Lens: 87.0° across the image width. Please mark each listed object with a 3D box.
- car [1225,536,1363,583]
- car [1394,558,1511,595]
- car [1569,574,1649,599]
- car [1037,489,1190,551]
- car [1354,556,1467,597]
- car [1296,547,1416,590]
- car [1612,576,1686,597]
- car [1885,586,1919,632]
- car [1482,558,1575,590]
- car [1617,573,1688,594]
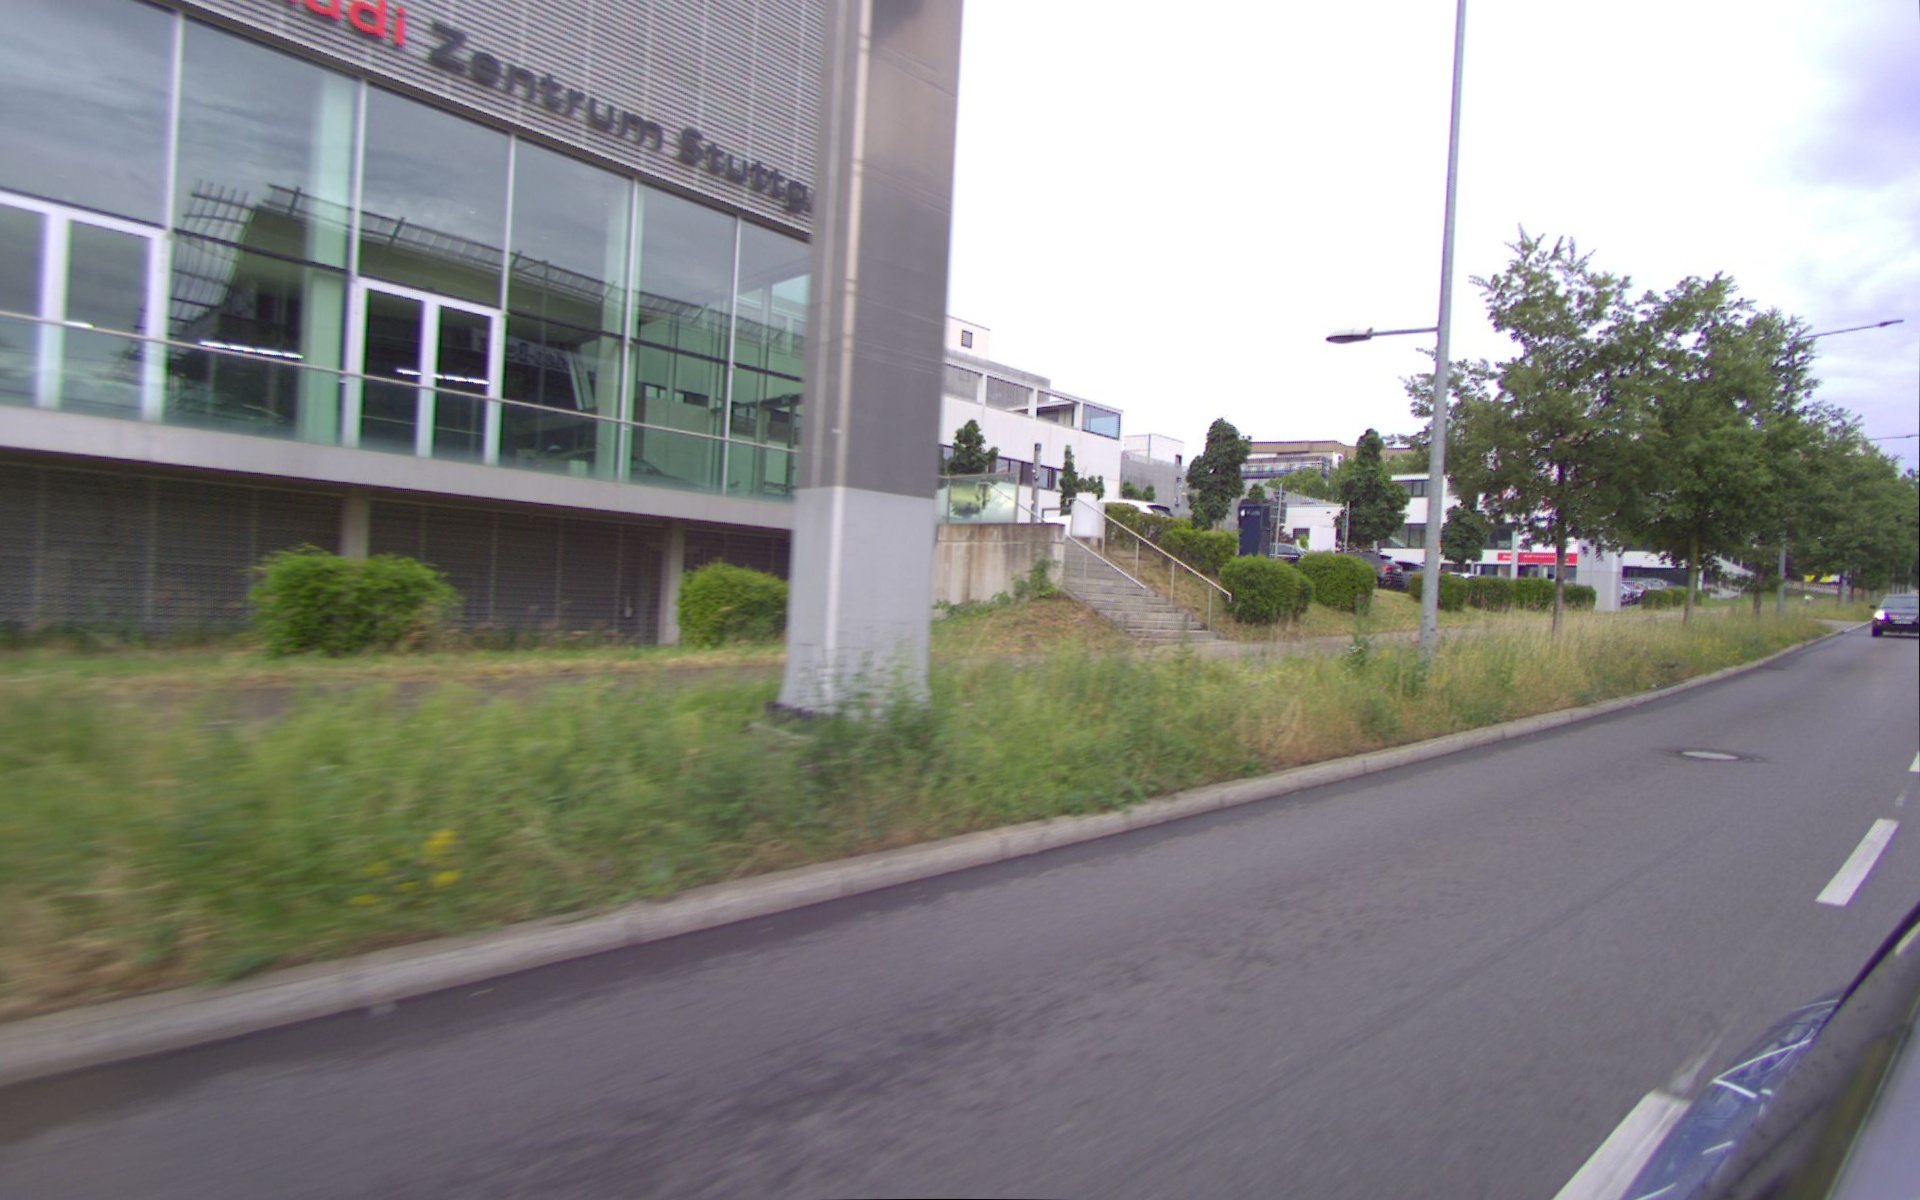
[{"bbox_3d":[11.923,-1.420,36.291,1.665,1.594,4.422,0,1,-45],"label":"car"},{"bbox_3d":[22.584,-1.111,46.525,1.665,1.613,4.522,-2,3,-45],"label":"car"},{"bbox_3d":[46.503,-0.997,72.578,1.900,1.547,4.465,-2,4,-45],"label":"car"},{"bbox_3d":[4.420,-2.276,29.577,4.261,1.594,1.665,2,1,45],"label":"car"},{"bbox_3d":[19.251,-1.005,43.399,1.665,1.629,4.107,1,1,-45],"label":"car"},{"bbox_3d":[15.632,-1.239,40.041,4.107,1.594,1.665,2,1,45],"label":"car"},{"bbox_3d":[53.191,-1.058,78.167,1.900,1.364,4.401,-2,5,-45],"label":"car"},{"bbox_3d":[36.788,0.320,38.668,4.045,1.629,1.826,-2,2,-43],"label":"car"},{"bbox_3d":[30.132,-1.414,53.664,4.097,1.613,1.923,2,3,38],"label":"car"},{"bbox_3d":[55.080,-1.358,80.565,1.860,1.444,4.402,-2,4,-44],"label":"car"}]
